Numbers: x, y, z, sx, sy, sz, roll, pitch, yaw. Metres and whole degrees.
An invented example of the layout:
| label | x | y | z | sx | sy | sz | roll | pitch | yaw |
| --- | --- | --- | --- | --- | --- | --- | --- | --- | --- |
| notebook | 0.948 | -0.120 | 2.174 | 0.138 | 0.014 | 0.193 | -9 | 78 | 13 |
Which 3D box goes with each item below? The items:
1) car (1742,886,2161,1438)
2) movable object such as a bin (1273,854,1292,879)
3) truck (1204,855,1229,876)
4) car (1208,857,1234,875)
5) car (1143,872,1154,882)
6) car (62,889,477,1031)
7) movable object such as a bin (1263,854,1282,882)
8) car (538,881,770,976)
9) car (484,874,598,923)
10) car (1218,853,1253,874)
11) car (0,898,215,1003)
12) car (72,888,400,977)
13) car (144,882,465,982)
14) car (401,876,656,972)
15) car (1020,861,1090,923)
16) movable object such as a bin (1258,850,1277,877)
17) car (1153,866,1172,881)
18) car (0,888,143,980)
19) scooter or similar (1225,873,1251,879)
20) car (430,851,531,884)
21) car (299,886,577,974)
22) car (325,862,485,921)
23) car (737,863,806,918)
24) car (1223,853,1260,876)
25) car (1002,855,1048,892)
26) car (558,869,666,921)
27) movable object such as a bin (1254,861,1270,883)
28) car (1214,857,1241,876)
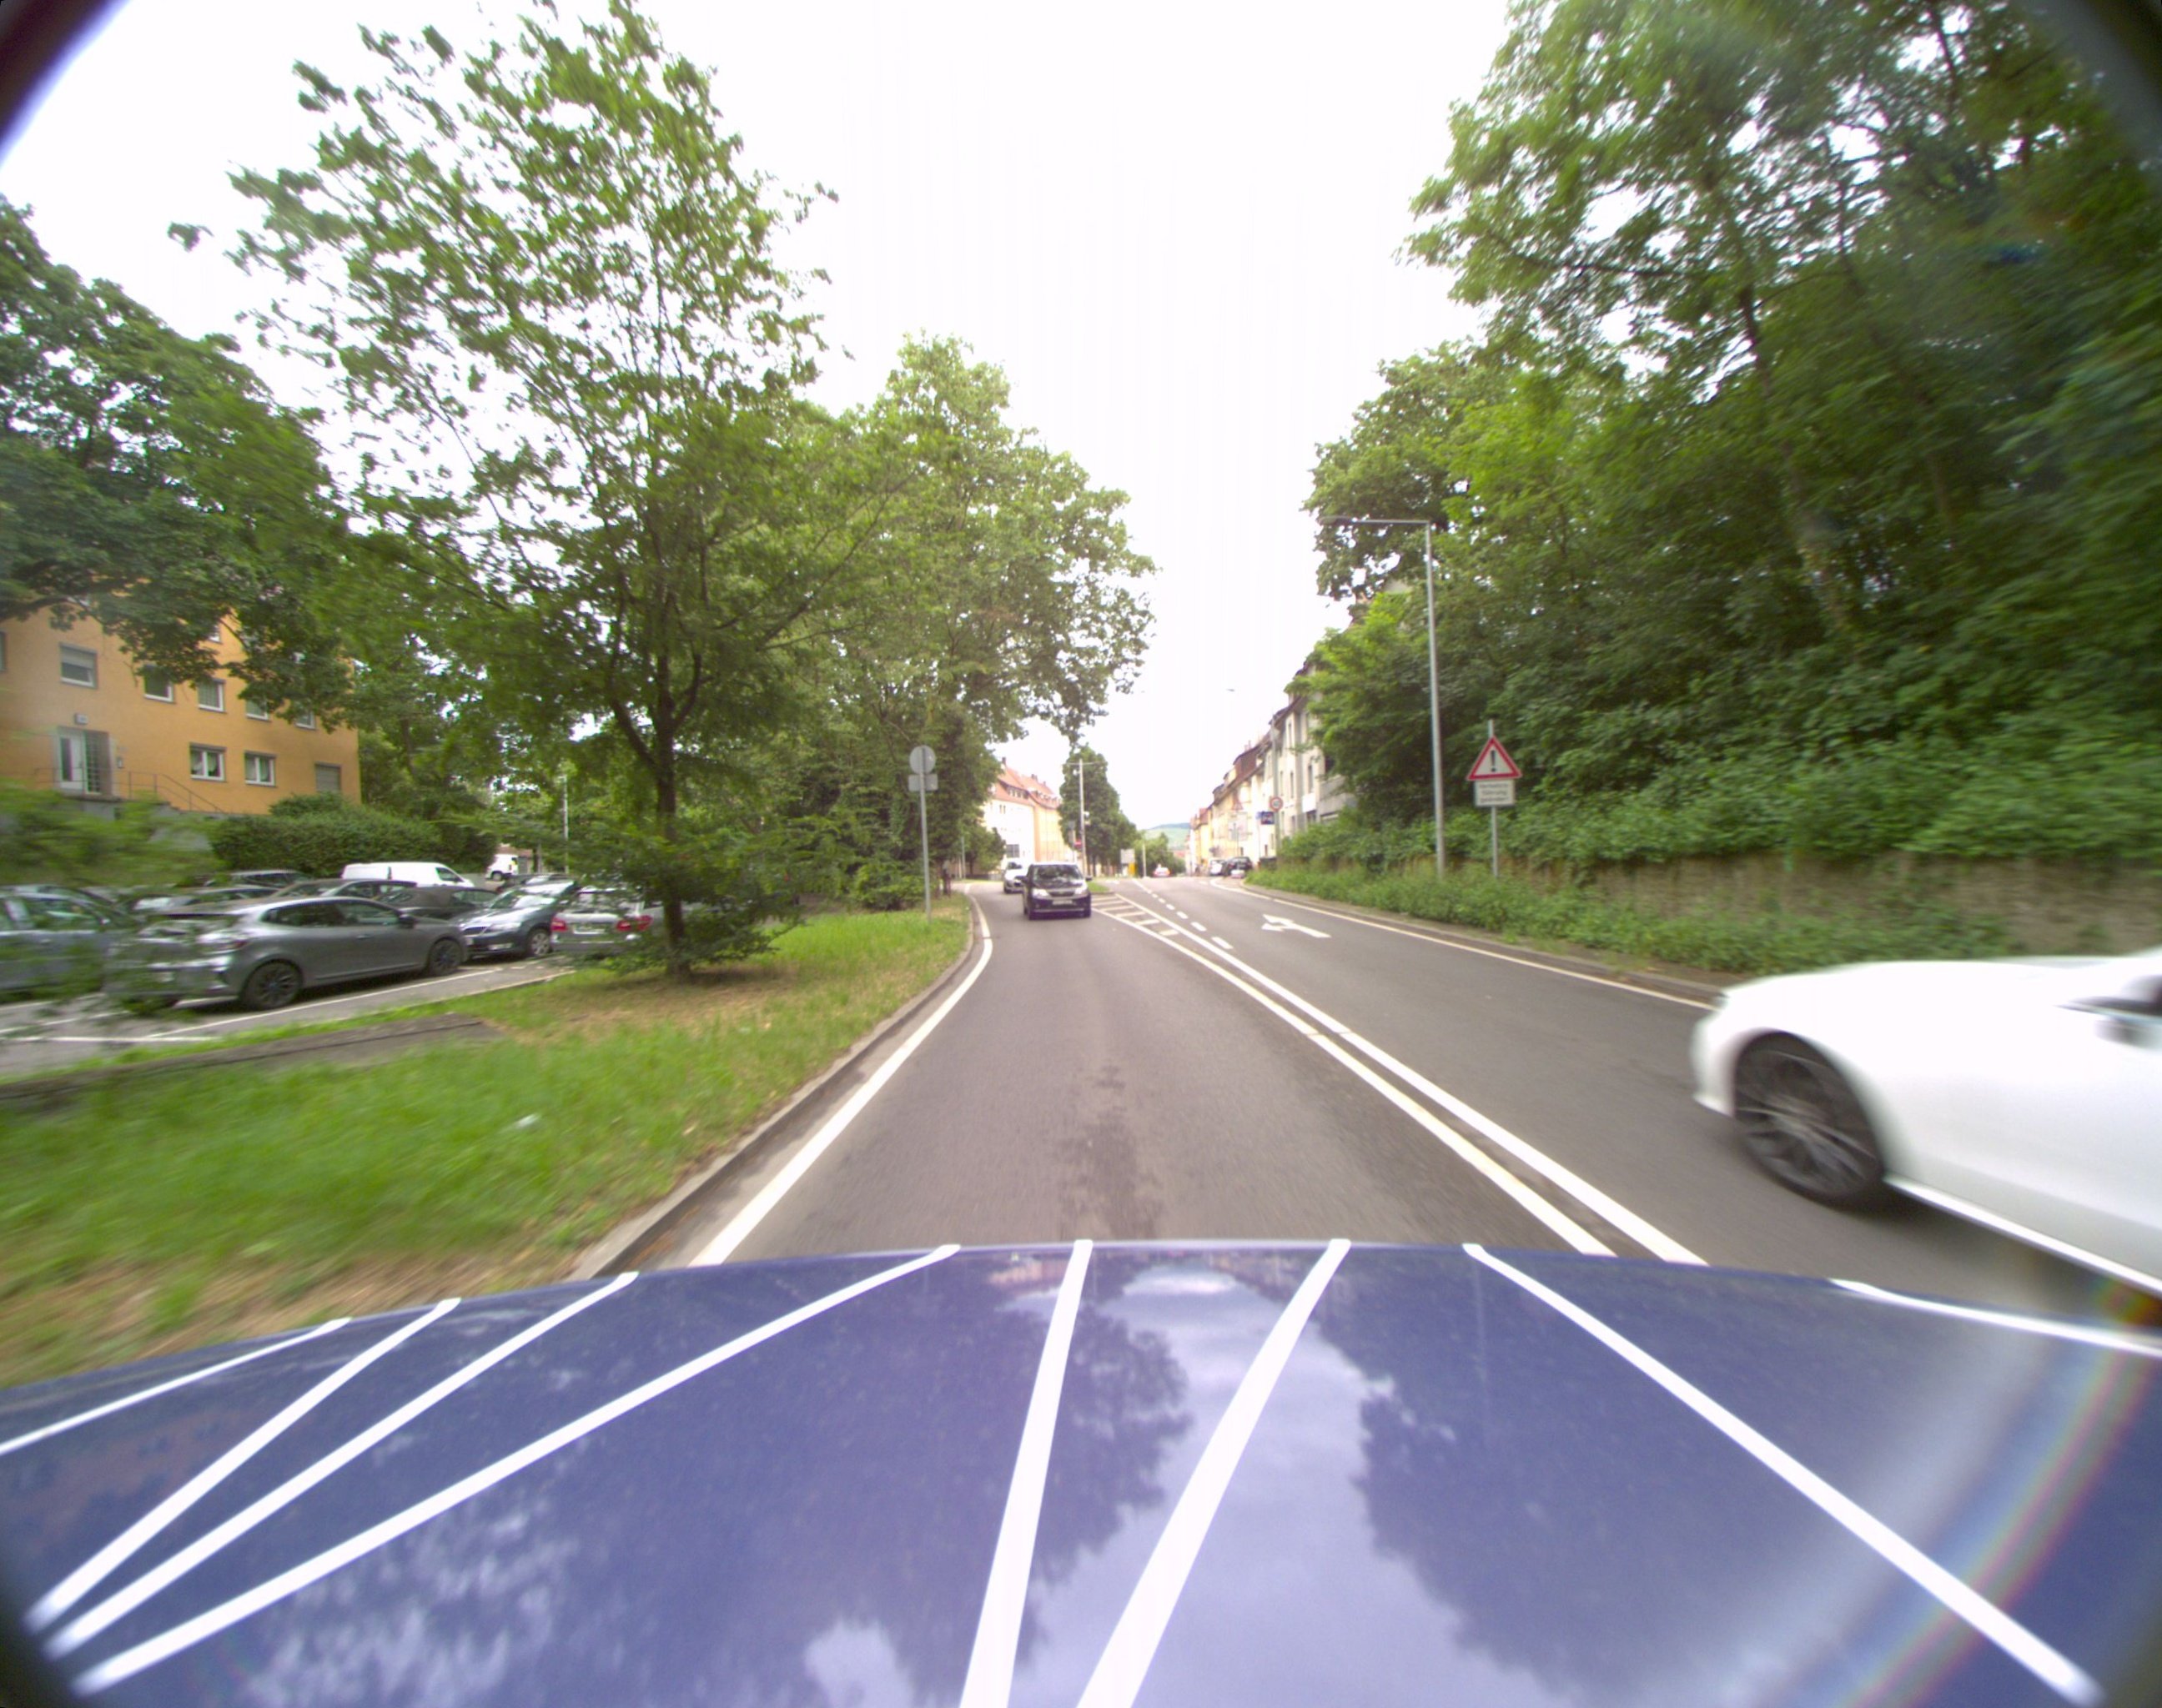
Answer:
| label | x | y | z | sx | sy | sz | roll | pitch | yaw |
| --- | --- | --- | --- | --- | --- | --- | --- | --- | --- |
| car | 3.777 | 0.850 | 1.072 | 1.873 | 1.363 | 4.456 | -2 | 0 | 2 |
| movable object such as a bin | 8.646 | 0.517 | 32.571 | 0.557 | 1.019 | 0.430 | -5 | 0 | -8 |
| truck | 13.622 | 1.234 | 76.660 | 1.998 | 1.908 | 5.352 | -2 | -3 | 6 |
| car | 13.050 | 1.171 | 70.945 | 1.998 | 1.542 | 4.386 | -2 | -3 | 6 |
| car | 11.606 | 3.993 | 131.059 | 1.749 | 1.458 | 4.590 | -2 | -3 | 6 |
| car | -11.256 | 1.365 | 11.036 | 1.748 | 1.434 | 3.898 | -1 | 1 | 1 |
| movable object such as a bin | 8.518 | 0.629 | 33.835 | 0.582 | 1.178 | 0.430 | -5 | 0 | -8 |
| car | -8.375 | 1.371 | 15.589 | 1.789 | 1.433 | 5.063 | -1 | 0 | 1 |
| car | -18.171 | 1.449 | 25.804 | 1.738 | 1.420 | 4.125 | 0 | 0 | -14 |
| car | 11.617 | 0.767 | 57.421 | 1.998 | 1.414 | 4.215 | -2 | -3 | 3 |
| car | -15.608 | 1.366 | 10.778 | 1.810 | 1.433 | 4.011 | -2 | -4 | 7 |
| car | -17.422 | 1.533 | 16.075 | 1.789 | 1.437 | 4.407 | -1 | 0 | 5 |
| car | -15.428 | 1.462 | 15.527 | 1.789 | 1.584 | 4.407 | -1 | 0 | 5 |
| car | -11.025 | 1.300 | 15.676 | 1.789 | 1.549 | 4.594 | -1 | 0 | 1 |
| car | -0.789 | 1.011 | 20.806 | 1.605 | 1.448 | 3.683 | -3 | -1 | -6 |
| movable object such as a bin | 8.428 | 0.446 | 34.397 | 0.606 | 1.178 | 0.492 | -5 | 0 | -8 |
| car | 10.045 | 2.406 | 93.801 | 1.874 | 1.688 | 4.937 | -2 | 0 | 2 |
| car | -17.955 | 1.258 | 11.574 | 1.810 | 1.432 | 4.249 | -2 | -4 | 7 |
| scooter or similar | 8.945 | 1.258 | 43.368 | 1.127 | 0.286 | 1.098 | -1 | 0 | -8 |
| car | -39.882 | 0.875 | 50.564 | 4.844 | 1.780 | 1.787 | -3 | 5 | -11 |
| car | -13.005 | 1.461 | 15.855 | 1.789 | 1.370 | 4.594 | -1 | 0 | 1 |
| car | -25.100 | 1.307 | 28.504 | 1.999 | 1.875 | 4.598 | -1 | 1 | -3 |
| car | -10.648 | 1.176 | 26.424 | 1.816 | 1.655 | 4.876 | 0 | 1 | -18 |
| car | 10.745 | 0.721 | 51.144 | 1.997 | 1.392 | 4.522 | -2 | -2 | 7 |
| car | -2.652 | 0.906 | 36.859 | 1.780 | 1.598 | 4.163 | -5 | 0 | 1 |
| car | -15.859 | 1.334 | 25.928 | 1.738 | 1.560 | 4.126 | 0 | 0 | -10 |
| movable object such as a bin | 8.361 | 0.815 | 35.100 | 0.517 | 0.961 | 0.444 | -5 | 0 | -8 |
| car | 12.694 | 1.099 | 65.917 | 1.997 | 1.465 | 4.162 | -2 | -3 | 7 |
